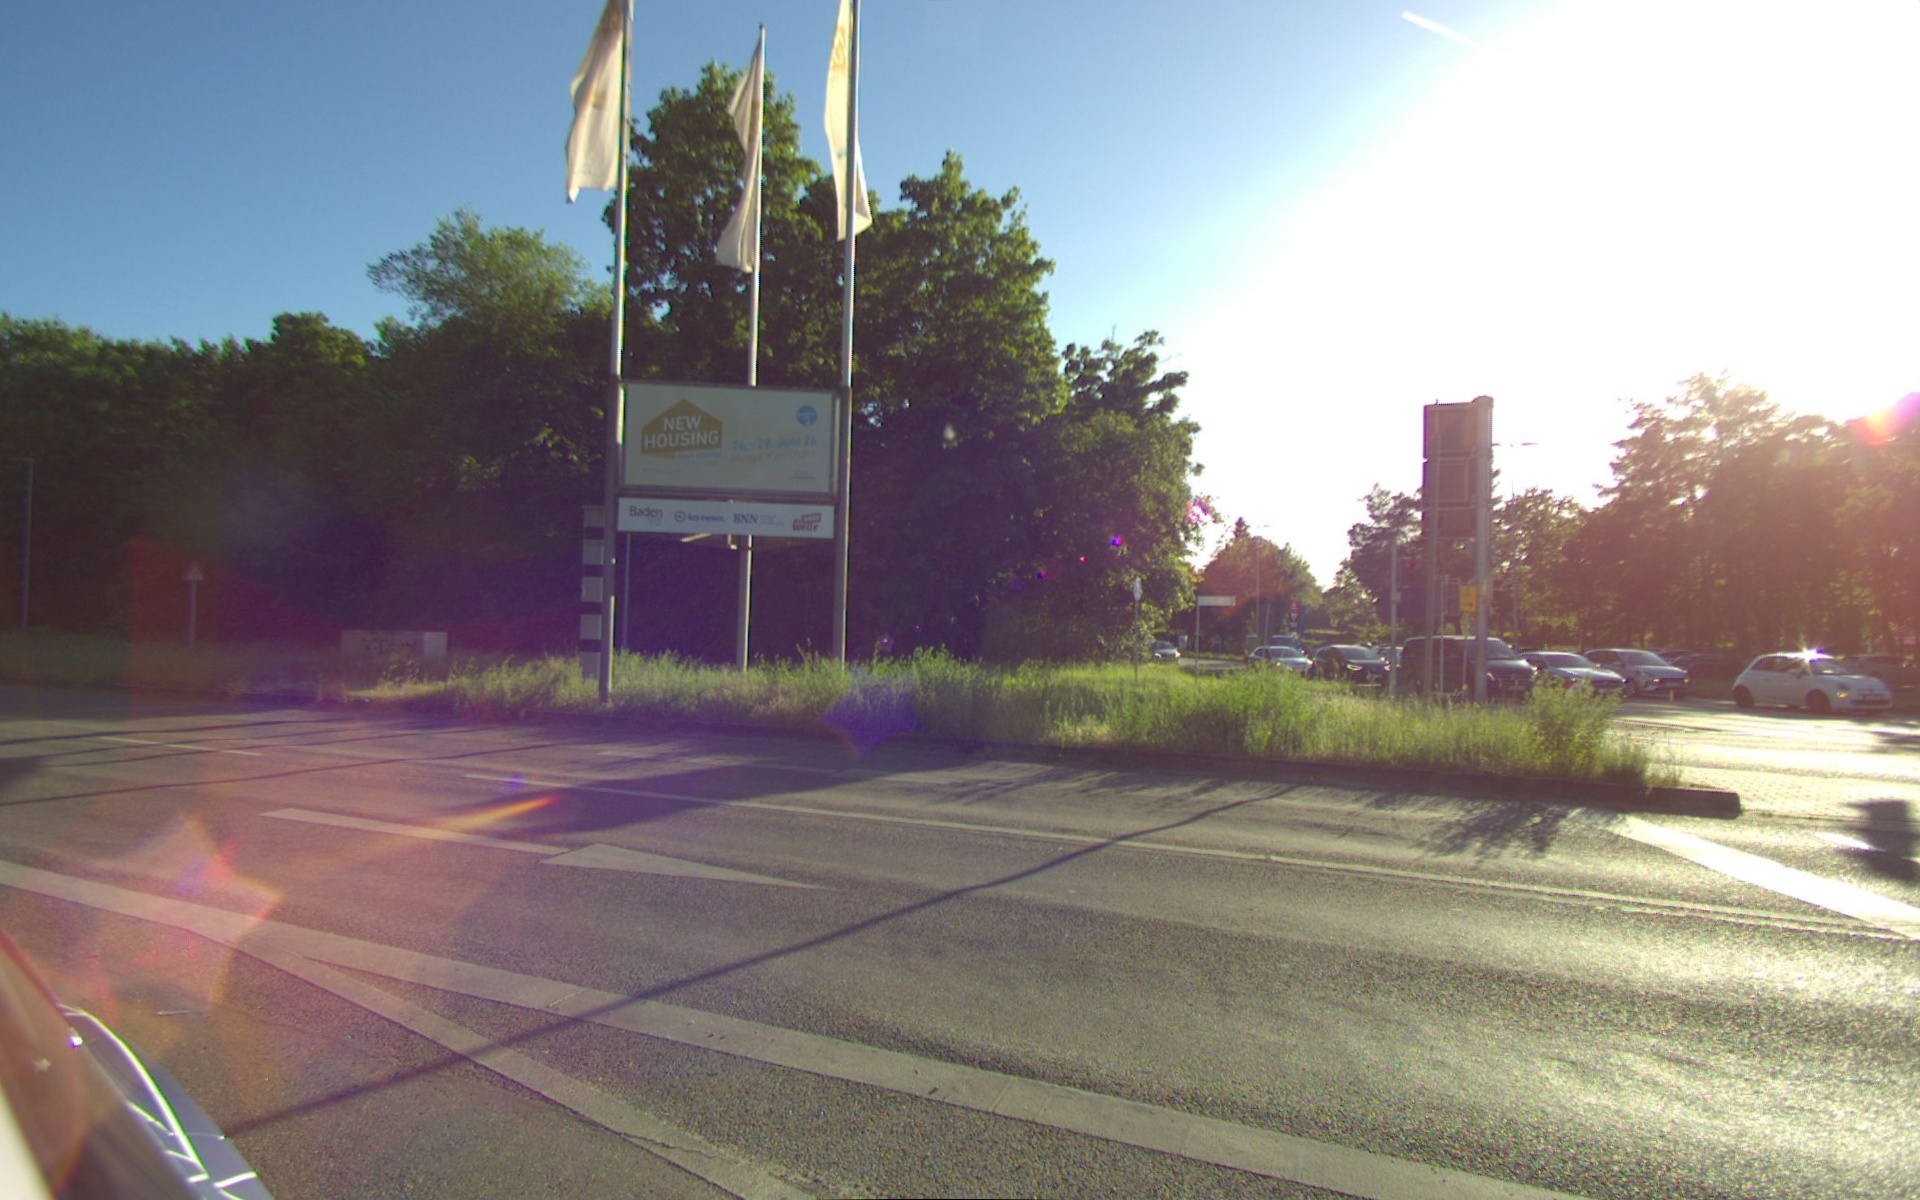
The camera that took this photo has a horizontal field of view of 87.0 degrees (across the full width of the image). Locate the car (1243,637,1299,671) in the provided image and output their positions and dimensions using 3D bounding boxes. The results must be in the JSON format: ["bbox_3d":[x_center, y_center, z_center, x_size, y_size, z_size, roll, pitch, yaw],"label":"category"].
[{"bbox_3d":[17.128,2.942,55.932,1.827,1.773,3.800,1,-2,-1],"label":"car"}]

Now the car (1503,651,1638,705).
[{"bbox_3d":[18.146,2.287,30.294,1.624,1.400,3.800,1,-2,-1],"label":"car"}]

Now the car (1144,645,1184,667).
[{"bbox_3d":[13.691,3.757,68.237,1.827,1.400,3.800,1,-2,-1],"label":"car"}]

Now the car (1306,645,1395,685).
[{"bbox_3d":[14.774,2.434,38.494,1.827,1.400,3.800,1,-2,-1],"label":"car"}]

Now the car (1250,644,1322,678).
[{"bbox_3d":[14.333,2.663,44.679,1.827,1.400,3.800,1,-2,-1],"label":"car"}]

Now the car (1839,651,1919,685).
[{"bbox_3d":[48.347,3.501,52.233,4.107,1.612,1.807,0,-2,12],"label":"car"}]

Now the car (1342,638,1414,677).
[{"bbox_3d":[20.207,2.729,49.071,1.827,1.773,3.800,1,-2,-1],"label":"car"}]

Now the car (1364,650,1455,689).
[{"bbox_3d":[17.838,2.737,40.338,1.827,1.400,3.800,1,-2,-1],"label":"car"}]

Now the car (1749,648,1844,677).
[{"bbox_3d":[49.717,3.695,60.218,3.929,1.612,1.807,0,-2,12],"label":"car"}]

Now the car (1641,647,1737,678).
[{"bbox_3d":[41.451,3.560,57.634,3.953,1.631,1.938,1,-2,8],"label":"car"}]

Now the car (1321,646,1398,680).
[{"bbox_3d":[17.854,2.795,45.390,1.827,1.400,3.800,1,-2,-1],"label":"car"}]

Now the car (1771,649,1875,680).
[{"bbox_3d":[47.587,3.534,55.851,3.929,1.612,1.807,0,-2,12],"label":"car"}]

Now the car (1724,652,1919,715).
[{"bbox_3d":[21.868,2.068,25.736,1.901,1.400,3.800,1,-2,-1],"label":"car"}]

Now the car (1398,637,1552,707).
[{"bbox_3d":[15.036,2.033,29.897,1.901,1.844,4.935,1,-2,-1],"label":"car"}]

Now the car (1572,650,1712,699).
[{"bbox_3d":[21.718,2.341,32.425,1.827,1.400,3.800,1,-2,-1],"label":"car"}]

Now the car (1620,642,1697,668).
[{"bbox_3d":[47.749,3.747,69.266,3.929,1.612,1.807,0,-2,12],"label":"car"}]
